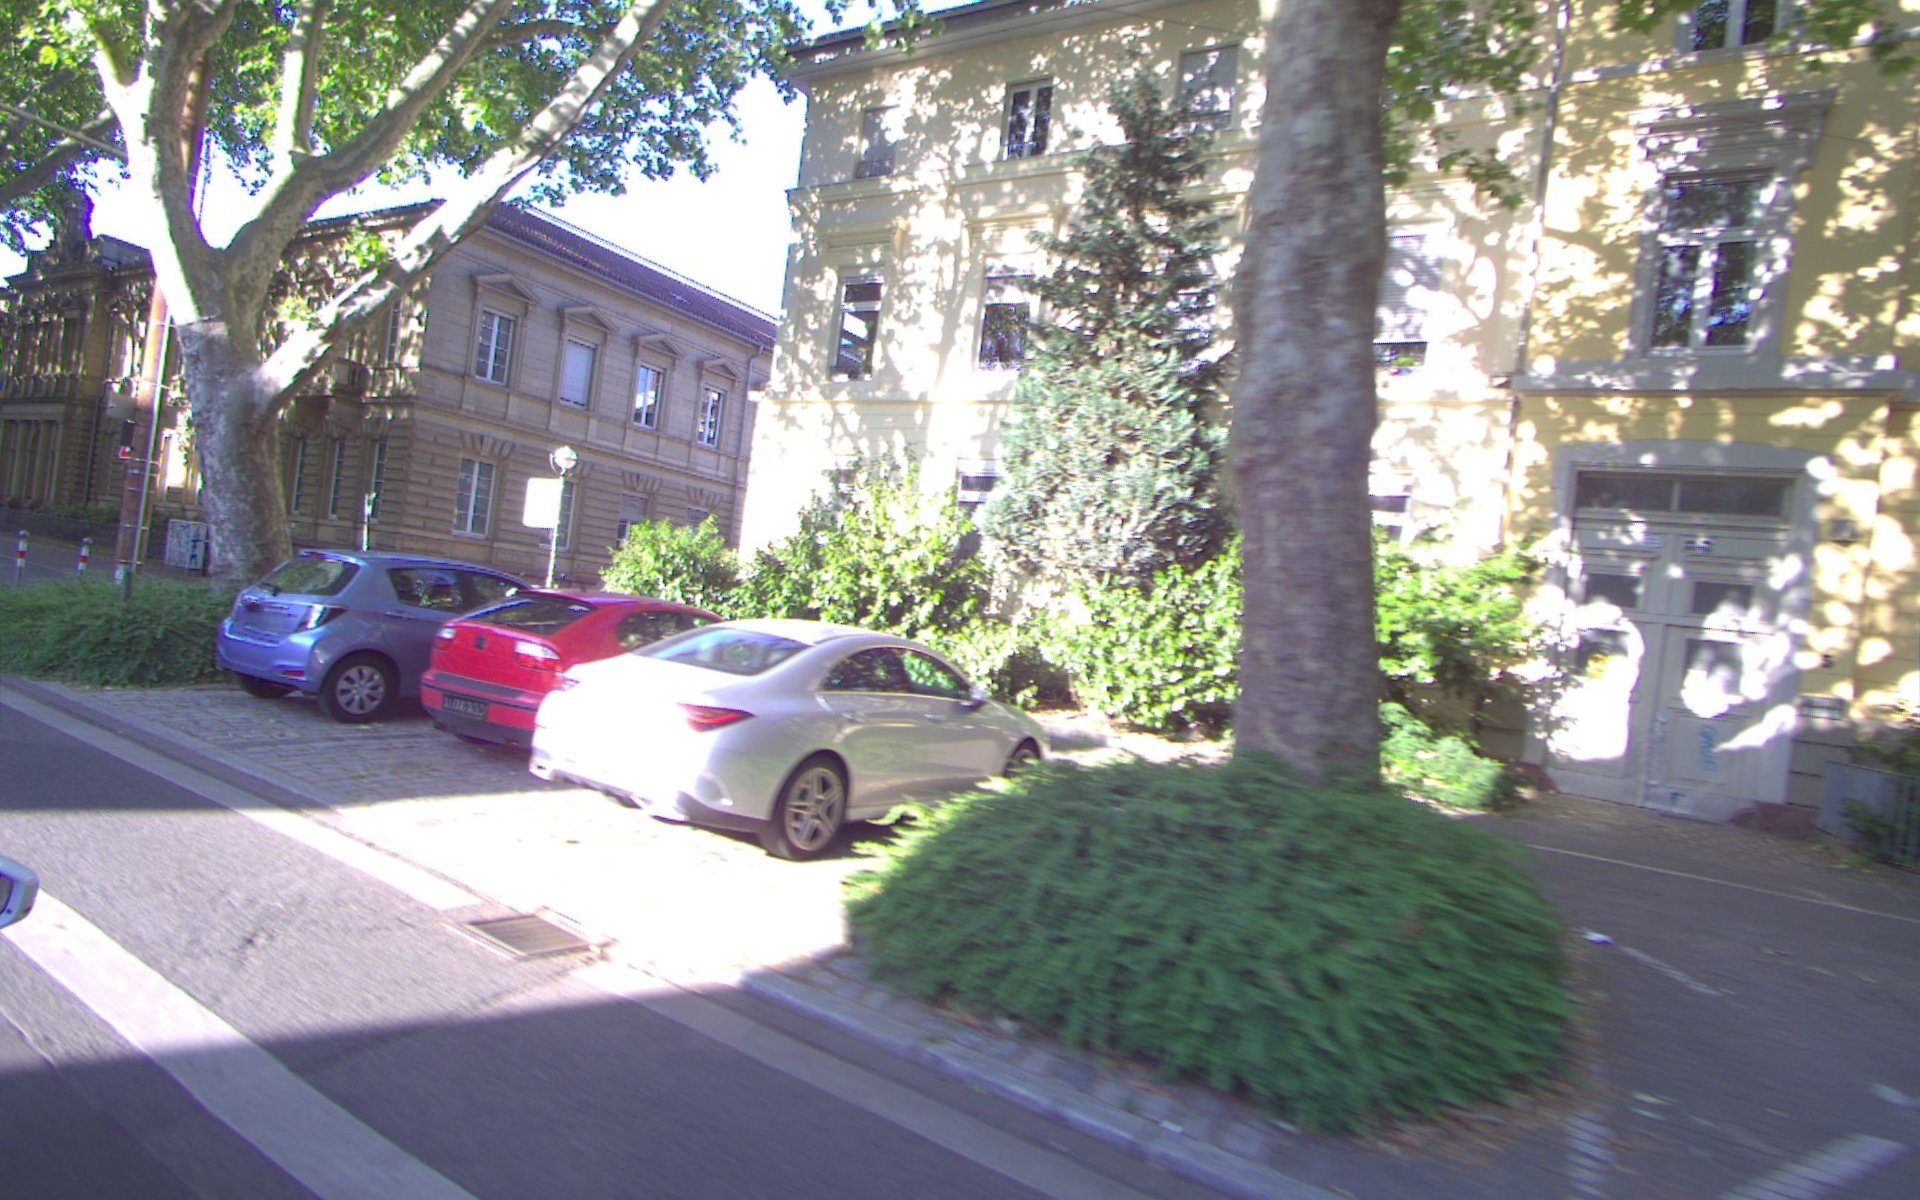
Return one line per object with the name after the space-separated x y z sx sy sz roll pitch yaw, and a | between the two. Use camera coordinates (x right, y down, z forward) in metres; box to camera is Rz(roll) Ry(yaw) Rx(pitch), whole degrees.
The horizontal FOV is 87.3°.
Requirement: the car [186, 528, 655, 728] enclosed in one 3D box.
-5.178 0.357 10.173 1.653 1.526 3.758 7 -1 30 | car

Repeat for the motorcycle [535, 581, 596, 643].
-10.840 0.301 27.586 0.566 1.448 2.257 9 -1 -44 | motorcycle

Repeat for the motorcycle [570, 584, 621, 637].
-10.311 0.271 28.423 0.493 1.311 2.158 9 -2 -40 | motorcycle

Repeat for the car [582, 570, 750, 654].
-6.721 0.320 23.309 1.604 1.607 3.477 3 -3 32 | car

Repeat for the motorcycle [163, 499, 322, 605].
-10.195 -0.632 14.420 0.466 1.241 2.174 7 -2 3 | motorcycle

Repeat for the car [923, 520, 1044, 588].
0.795 -1.342 30.391 1.631 1.429 4.079 4 -3 34 | car

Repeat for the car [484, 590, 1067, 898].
-0.984 0.883 7.489 1.731 1.434 4.290 7 0 32 | car

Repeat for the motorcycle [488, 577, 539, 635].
-11.901 0.146 26.773 0.493 1.312 2.158 9 -1 -40 | motorcycle

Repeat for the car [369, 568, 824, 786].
-3.015 0.637 9.186 1.651 1.404 3.760 7 0 25 | car
